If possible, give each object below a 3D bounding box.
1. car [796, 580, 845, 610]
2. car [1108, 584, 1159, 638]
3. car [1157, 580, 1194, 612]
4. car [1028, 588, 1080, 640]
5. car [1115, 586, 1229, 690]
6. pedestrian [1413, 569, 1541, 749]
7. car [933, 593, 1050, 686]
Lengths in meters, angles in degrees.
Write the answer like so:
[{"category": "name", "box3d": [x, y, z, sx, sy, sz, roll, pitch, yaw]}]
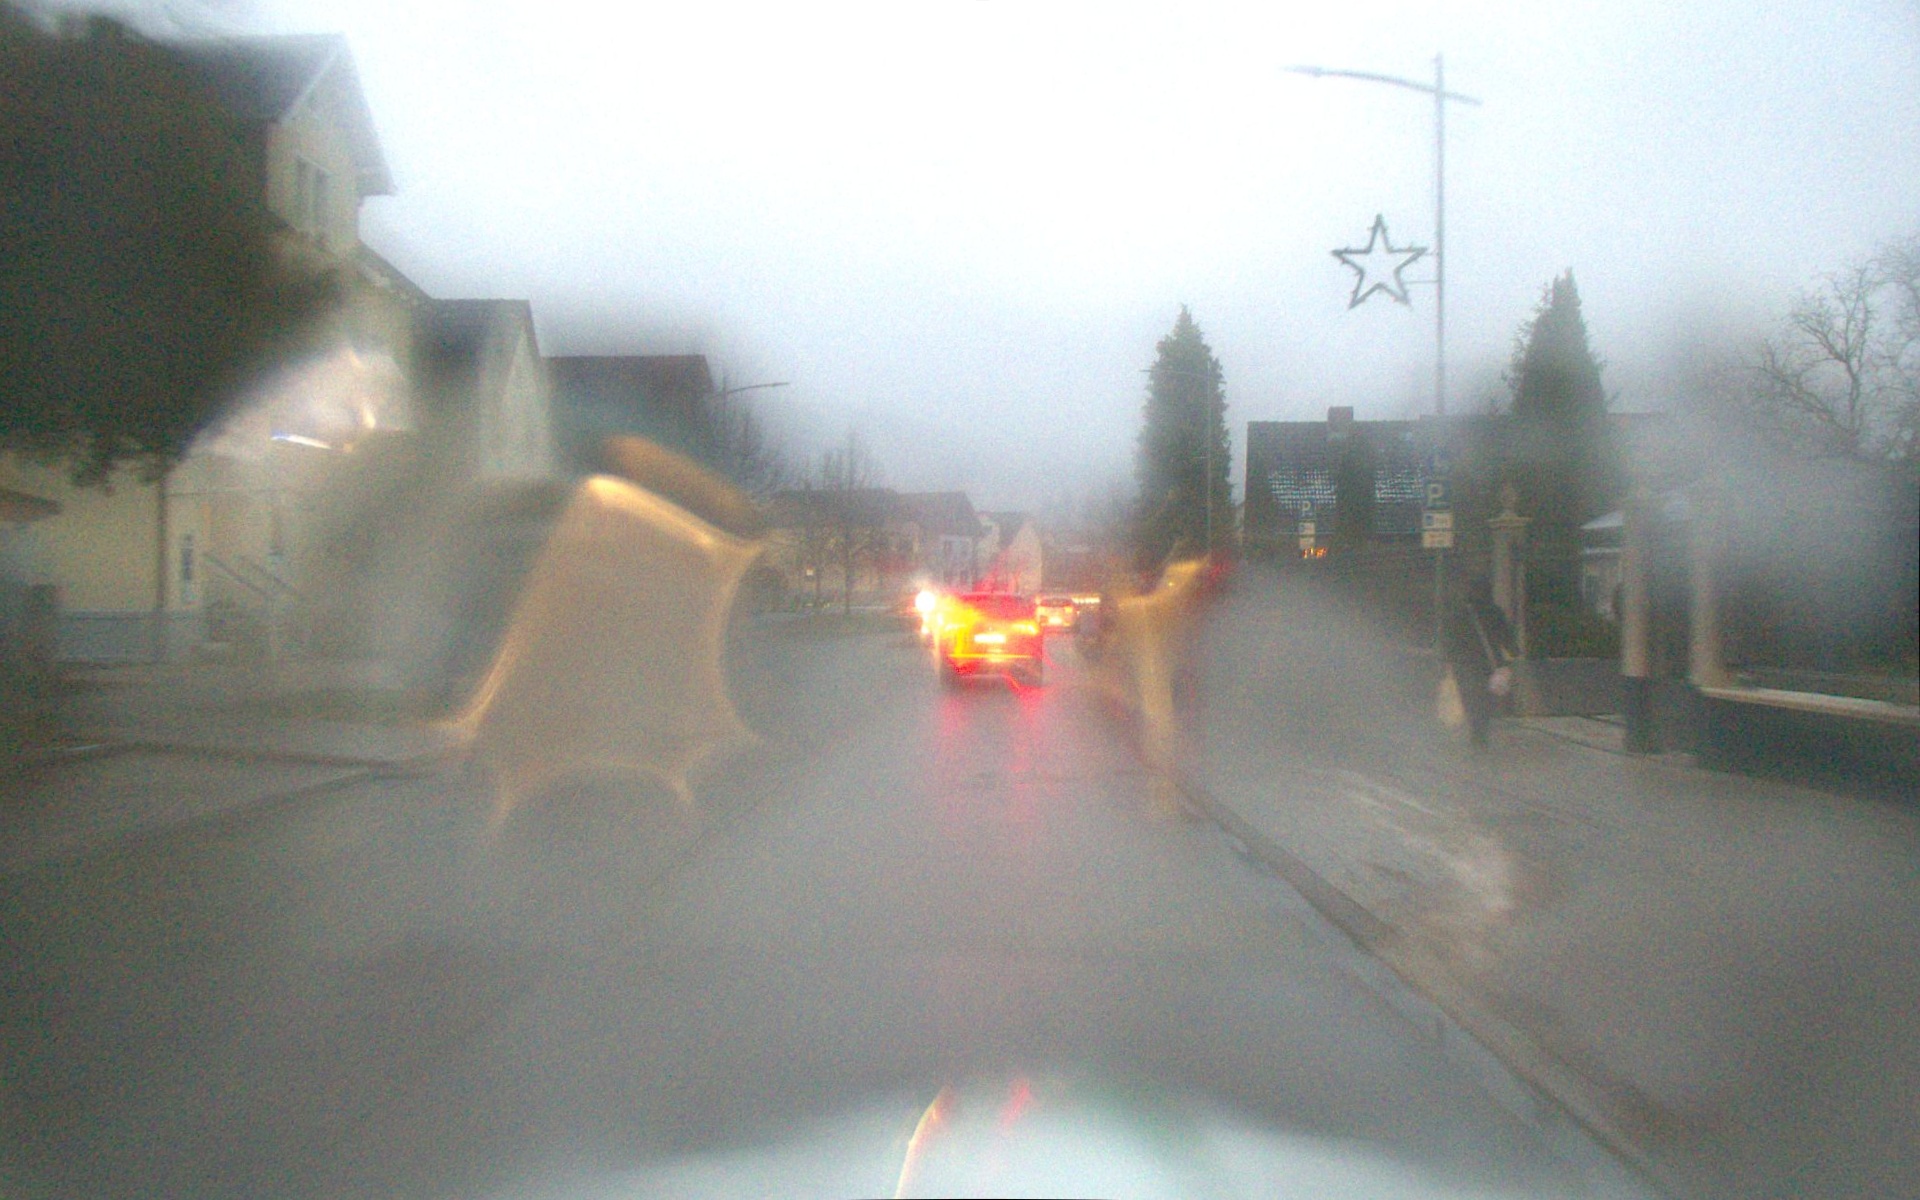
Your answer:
[{"category": "car", "box3d": [-10.104, -0.378, 120.160, 1.953, 2.048, 4.000, 2, 1, 21]}, {"category": "car", "box3d": [7.134, 0.412, 68.159, 1.935, 2.049, 5.749, -2, 0, 6]}, {"category": "car", "box3d": [13.340, -0.274, 102.216, 1.708, 1.816, 4.339, -2, 0, 14]}, {"category": "car", "box3d": [3.843, 0.586, 68.037, 1.952, 2.049, 4.000, 1, 0, 1]}, {"category": "car", "box3d": [3.545, 0.613, 28.134, 1.615, 1.566, 3.392, -4, 0, 3]}, {"category": "pedestrian", "box3d": [5.303, 0.587, 17.027, 0.967, 1.772, 1.056, -2, 0, 3]}, {"category": "car", "box3d": [0.541, 0.658, 29.911, 1.953, 1.552, 4.000, 1, 0, 0]}]
